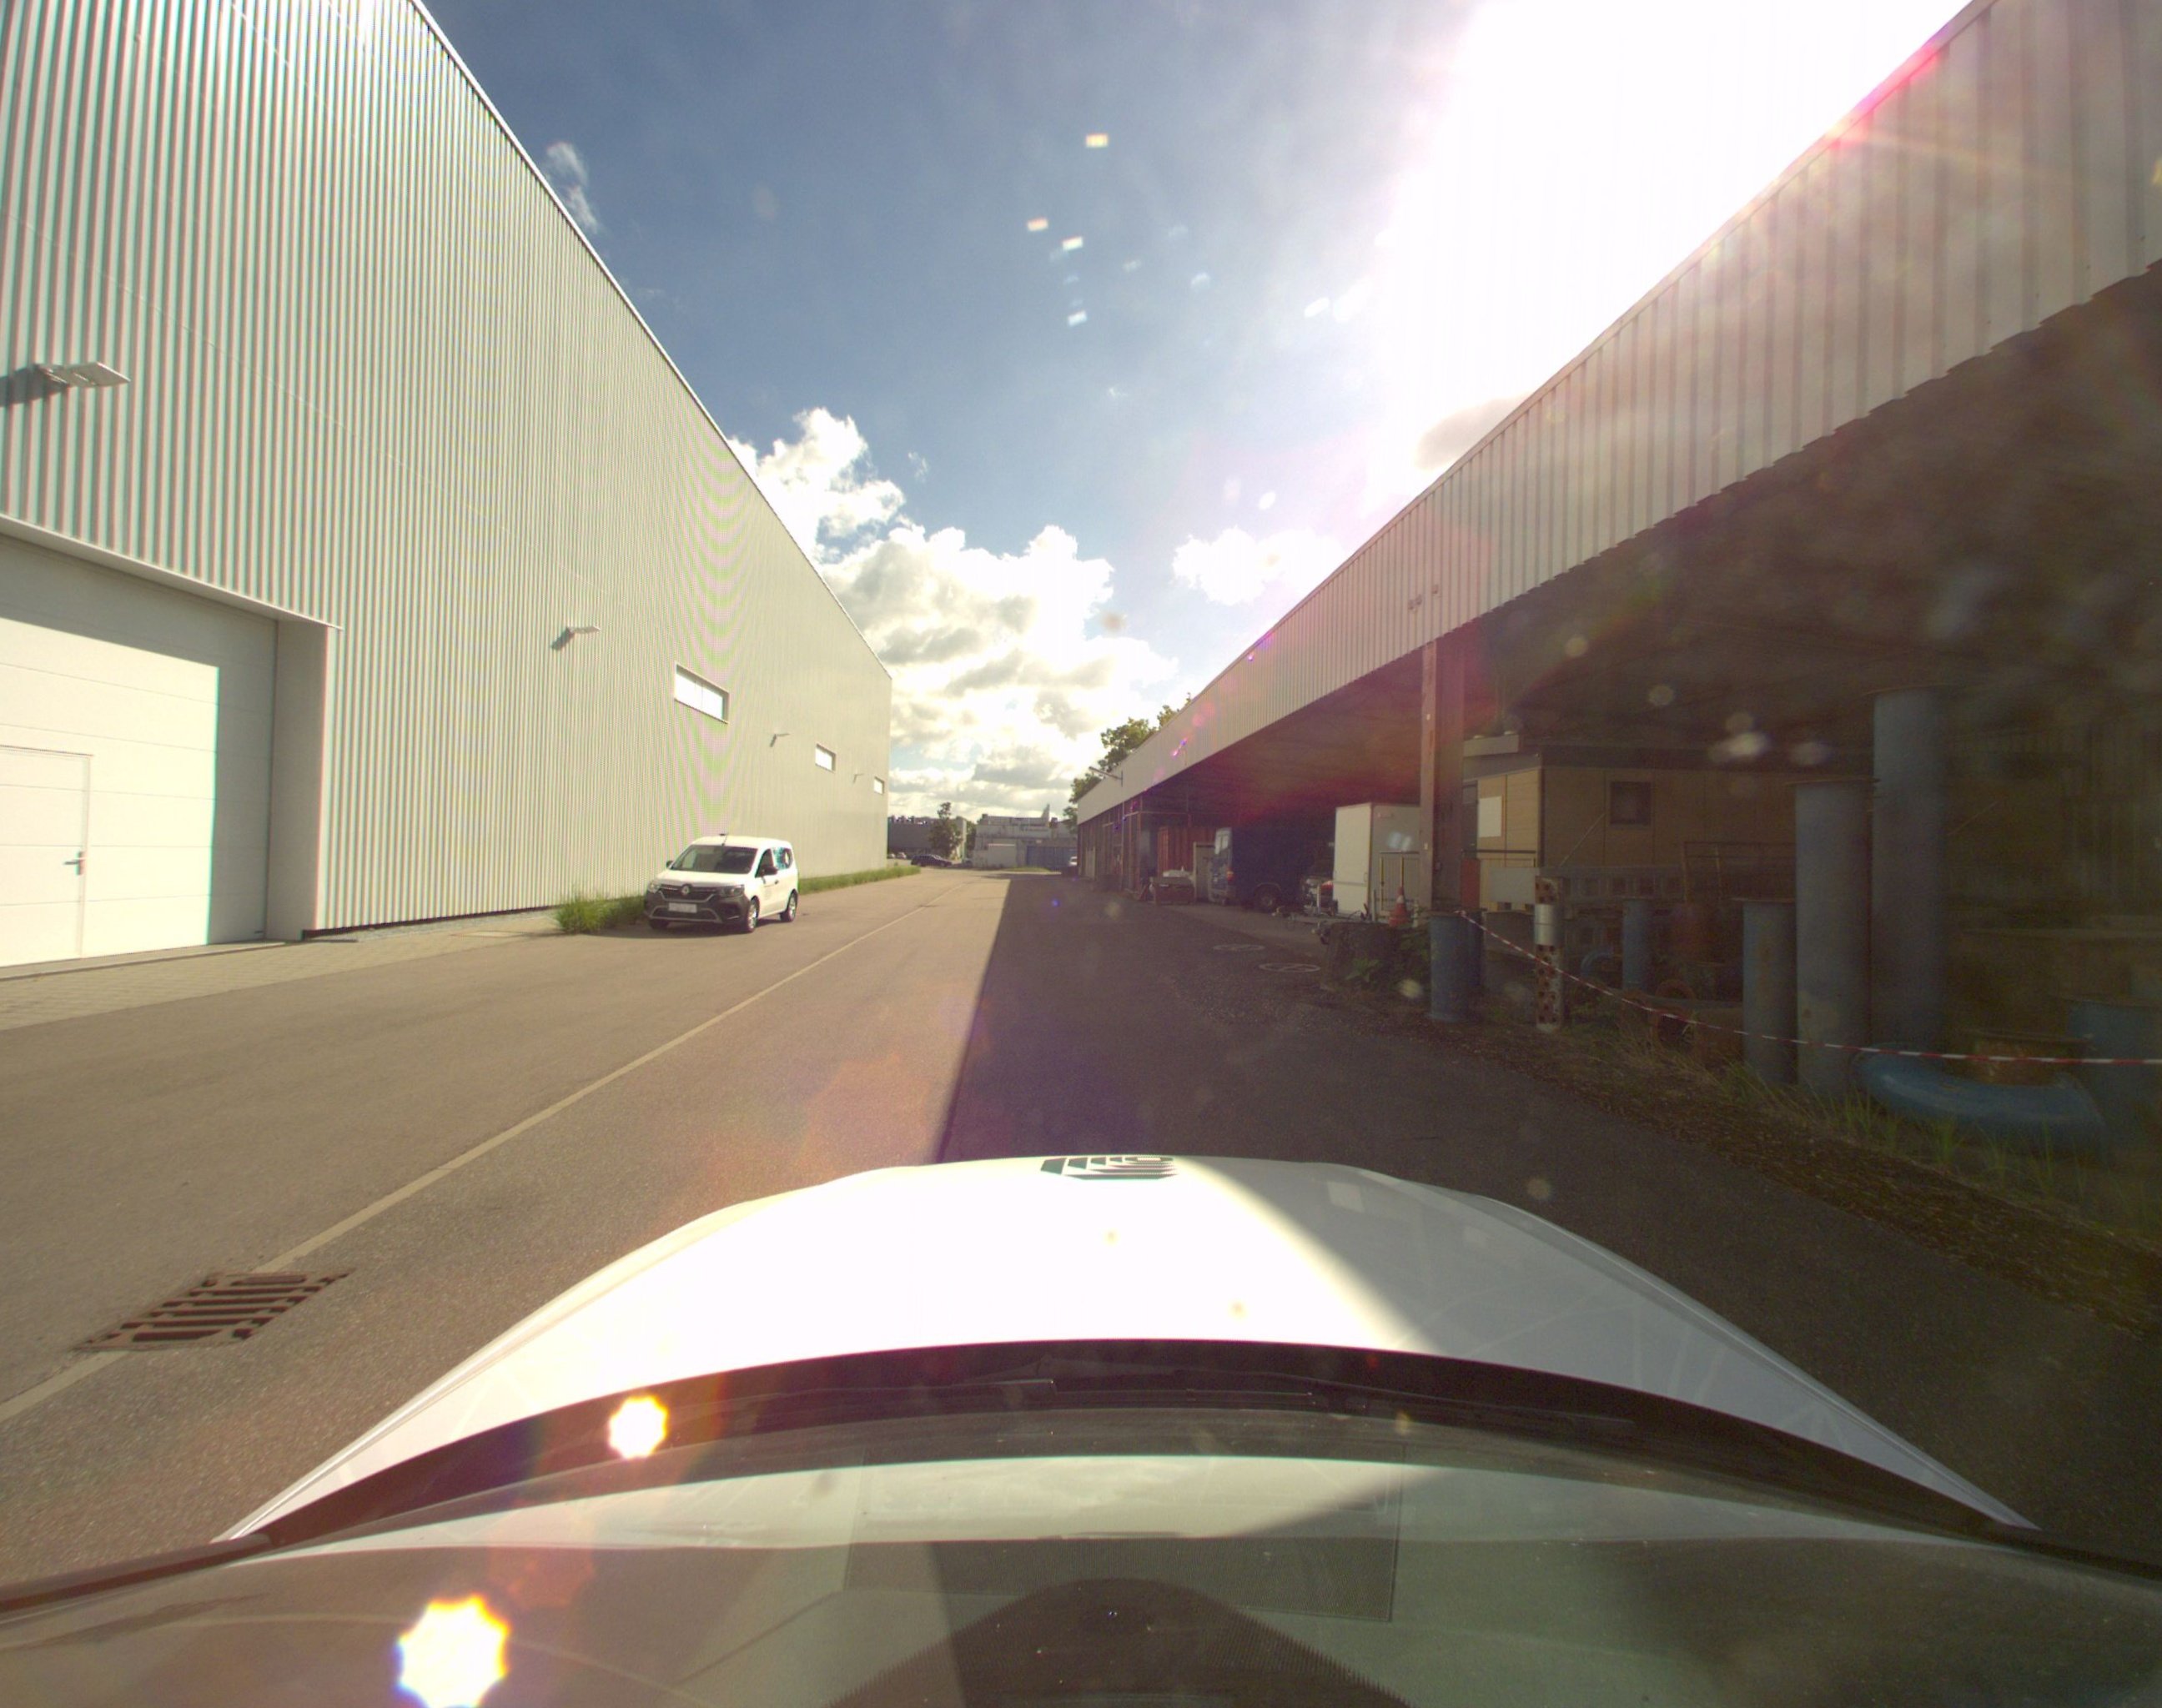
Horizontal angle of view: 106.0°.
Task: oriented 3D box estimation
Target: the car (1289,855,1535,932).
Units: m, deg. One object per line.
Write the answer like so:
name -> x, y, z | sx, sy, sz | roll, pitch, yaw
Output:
car -> 6.697, 0.763, 16.676 | 4.342, 1.433, 1.859 | 0, -1, -9

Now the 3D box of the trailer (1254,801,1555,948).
trailer -> 5.418, 0.313, 13.950 | 4.533, 2.335, 1.686 | 0, 0, -5

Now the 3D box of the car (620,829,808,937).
car -> -7.114, 0.516, 16.401 | 1.925, 1.790, 4.590 | 3, 0, -5

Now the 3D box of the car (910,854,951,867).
car -> -18.022, 0.802, 97.756 | 4.522, 1.443, 1.983 | 1, -2, -5

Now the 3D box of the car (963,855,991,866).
car -> -16.047, 0.948, 125.781 | 4.272, 1.569, 1.983 | 1, -2, -5

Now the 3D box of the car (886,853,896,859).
car -> -44.727, 0.454, 192.215 | 1.876, 1.537, 4.025 | 0, -1, -7

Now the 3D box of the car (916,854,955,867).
car -> -18.057, 0.817, 101.021 | 4.522, 1.443, 1.900 | 1, -2, -5

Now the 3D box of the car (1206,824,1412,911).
car -> 6.315, 0.390, 22.918 | 5.209, 2.297, 2.080 | 1, -1, -6

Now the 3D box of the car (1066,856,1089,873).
car -> -0.392, 1.078, 86.861 | 1.978, 1.593, 4.333 | 2, 1, -5

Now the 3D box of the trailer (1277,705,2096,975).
trailer -> 8.244, -0.204, 11.700 | 10.274, 3.295, 2.671 | 0, 0, -5

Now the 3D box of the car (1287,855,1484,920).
car -> 7.325, 0.773, 19.805 | 4.101, 1.454, 1.847 | 0, -1, -6

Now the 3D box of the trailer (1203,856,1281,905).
trailer -> 4.986, 0.813, 25.395 | 2.089, 1.462, 1.640 | 1, -1, -2

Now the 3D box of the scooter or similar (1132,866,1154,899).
scooter or similar -> 2.139, 0.971, 28.300 | 0.519, 1.134, 1.589 | 1, -1, -5

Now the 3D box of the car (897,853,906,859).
car -> -42.431, 0.441, 192.665 | 1.876, 1.537, 4.025 | 0, -1, -7
